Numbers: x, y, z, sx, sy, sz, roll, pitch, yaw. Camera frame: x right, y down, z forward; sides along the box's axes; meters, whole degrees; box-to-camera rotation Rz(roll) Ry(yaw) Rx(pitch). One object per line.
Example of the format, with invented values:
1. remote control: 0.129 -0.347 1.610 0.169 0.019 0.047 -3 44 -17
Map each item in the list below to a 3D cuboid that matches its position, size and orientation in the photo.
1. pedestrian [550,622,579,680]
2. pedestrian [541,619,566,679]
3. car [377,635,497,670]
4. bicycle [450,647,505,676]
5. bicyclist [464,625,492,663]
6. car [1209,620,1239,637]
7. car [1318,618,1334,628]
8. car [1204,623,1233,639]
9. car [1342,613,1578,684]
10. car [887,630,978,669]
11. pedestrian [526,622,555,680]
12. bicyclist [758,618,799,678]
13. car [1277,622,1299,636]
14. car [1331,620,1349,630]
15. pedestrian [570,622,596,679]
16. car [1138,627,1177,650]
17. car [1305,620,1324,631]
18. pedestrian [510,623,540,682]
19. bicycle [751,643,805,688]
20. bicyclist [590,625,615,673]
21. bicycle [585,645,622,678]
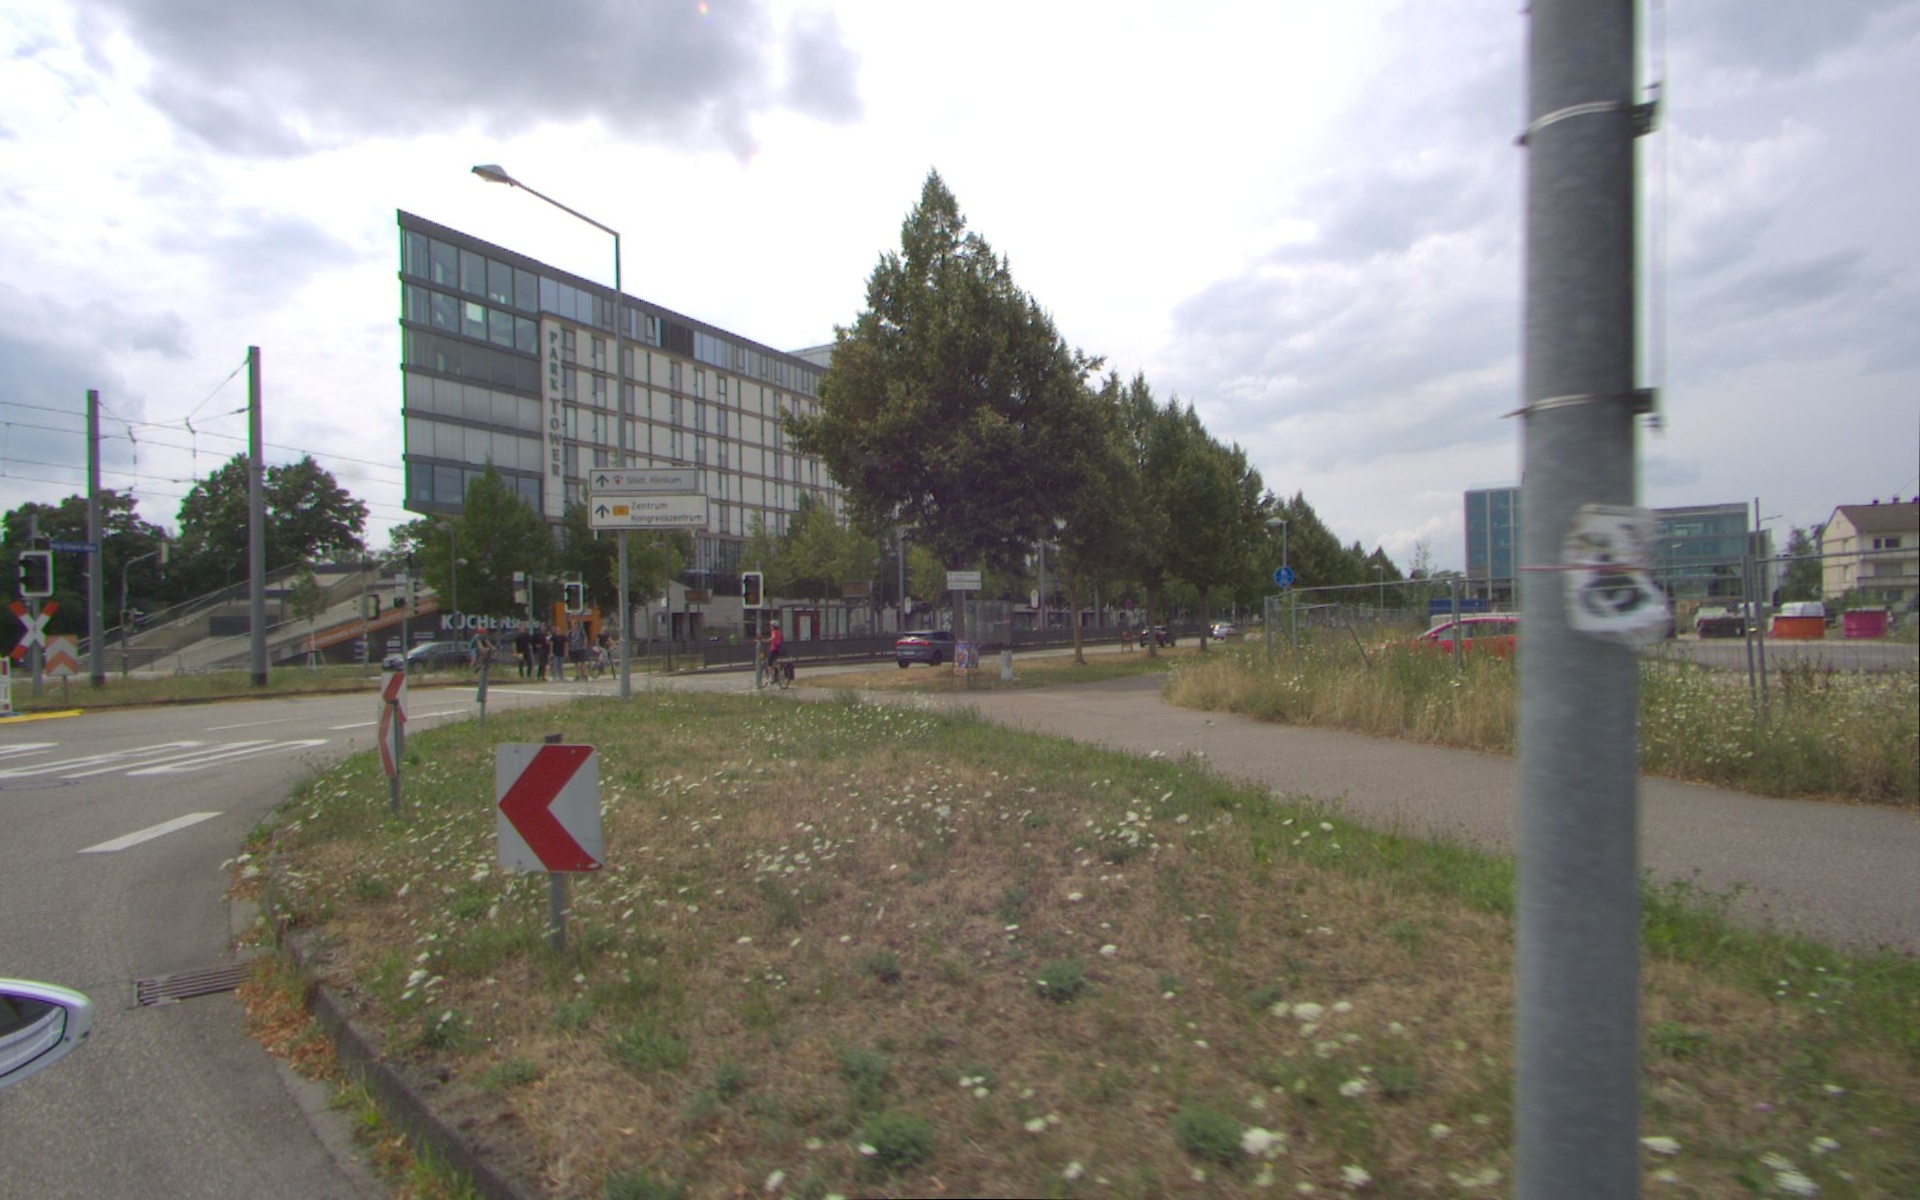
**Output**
1. pedestrian: -12.493 1.614 31.630 0.544 1.804 0.688 -1 -1 23
2. pedestrian: -13.065 1.567 32.212 0.544 1.886 0.530 -1 -1 23
3. car: -24.149 2.387 46.433 1.821 1.477 4.717 -1 -2 30
4. bicycle: -17.237 2.203 35.778 1.723 1.020 0.654 -1 -1 11
5. bicyclist: -17.221 1.561 35.785 0.662 1.334 0.640 0 -1 13
6. car: 23.797 2.558 90.305 1.801 1.481 4.246 -1 -1 26
7. car: 60.915 3.851 166.650 1.969 1.638 4.734 -2 -2 28
8. car: 25.801 3.035 99.842 1.707 1.553 4.353 -1 -1 30
9. car: 12.255 1.206 24.930 5.053 1.624 1.785 -2 -1 23
10. car: -1.108 2.092 43.299 2.032 1.571 4.458 -1 -1 27
11. pedestrian: -13.226 1.590 31.562 0.544 1.804 0.632 -1 -1 23
12. bicyclist: -5.098 1.330 28.044 0.781 1.648 1.043 -1 -1 -32
13. car: 38.384 3.375 117.158 1.773 1.516 4.102 -1 -1 26
14. car: 59.972 3.915 157.855 1.970 1.638 4.732 -2 -2 29
15. pedestrian: -12.109 1.612 32.192 0.544 1.804 0.579 -1 -1 23
16. car: 14.178 2.734 71.823 1.714 1.538 4.132 -1 -1 27
17. car: 49.806 3.585 140.646 1.774 1.516 4.242 -1 -1 29
18. pedestrian: -13.405 1.605 30.862 0.544 1.804 0.688 -1 -1 23
19. bicycle: -5.136 1.818 28.105 0.781 1.183 2.030 -1 -1 -32
20. bicyclist: -12.053 1.656 33.757 0.555 1.601 0.758 0 -1 -43
21. bicycle: -12.015 2.045 33.699 0.543 1.072 1.697 0 -2 -43
